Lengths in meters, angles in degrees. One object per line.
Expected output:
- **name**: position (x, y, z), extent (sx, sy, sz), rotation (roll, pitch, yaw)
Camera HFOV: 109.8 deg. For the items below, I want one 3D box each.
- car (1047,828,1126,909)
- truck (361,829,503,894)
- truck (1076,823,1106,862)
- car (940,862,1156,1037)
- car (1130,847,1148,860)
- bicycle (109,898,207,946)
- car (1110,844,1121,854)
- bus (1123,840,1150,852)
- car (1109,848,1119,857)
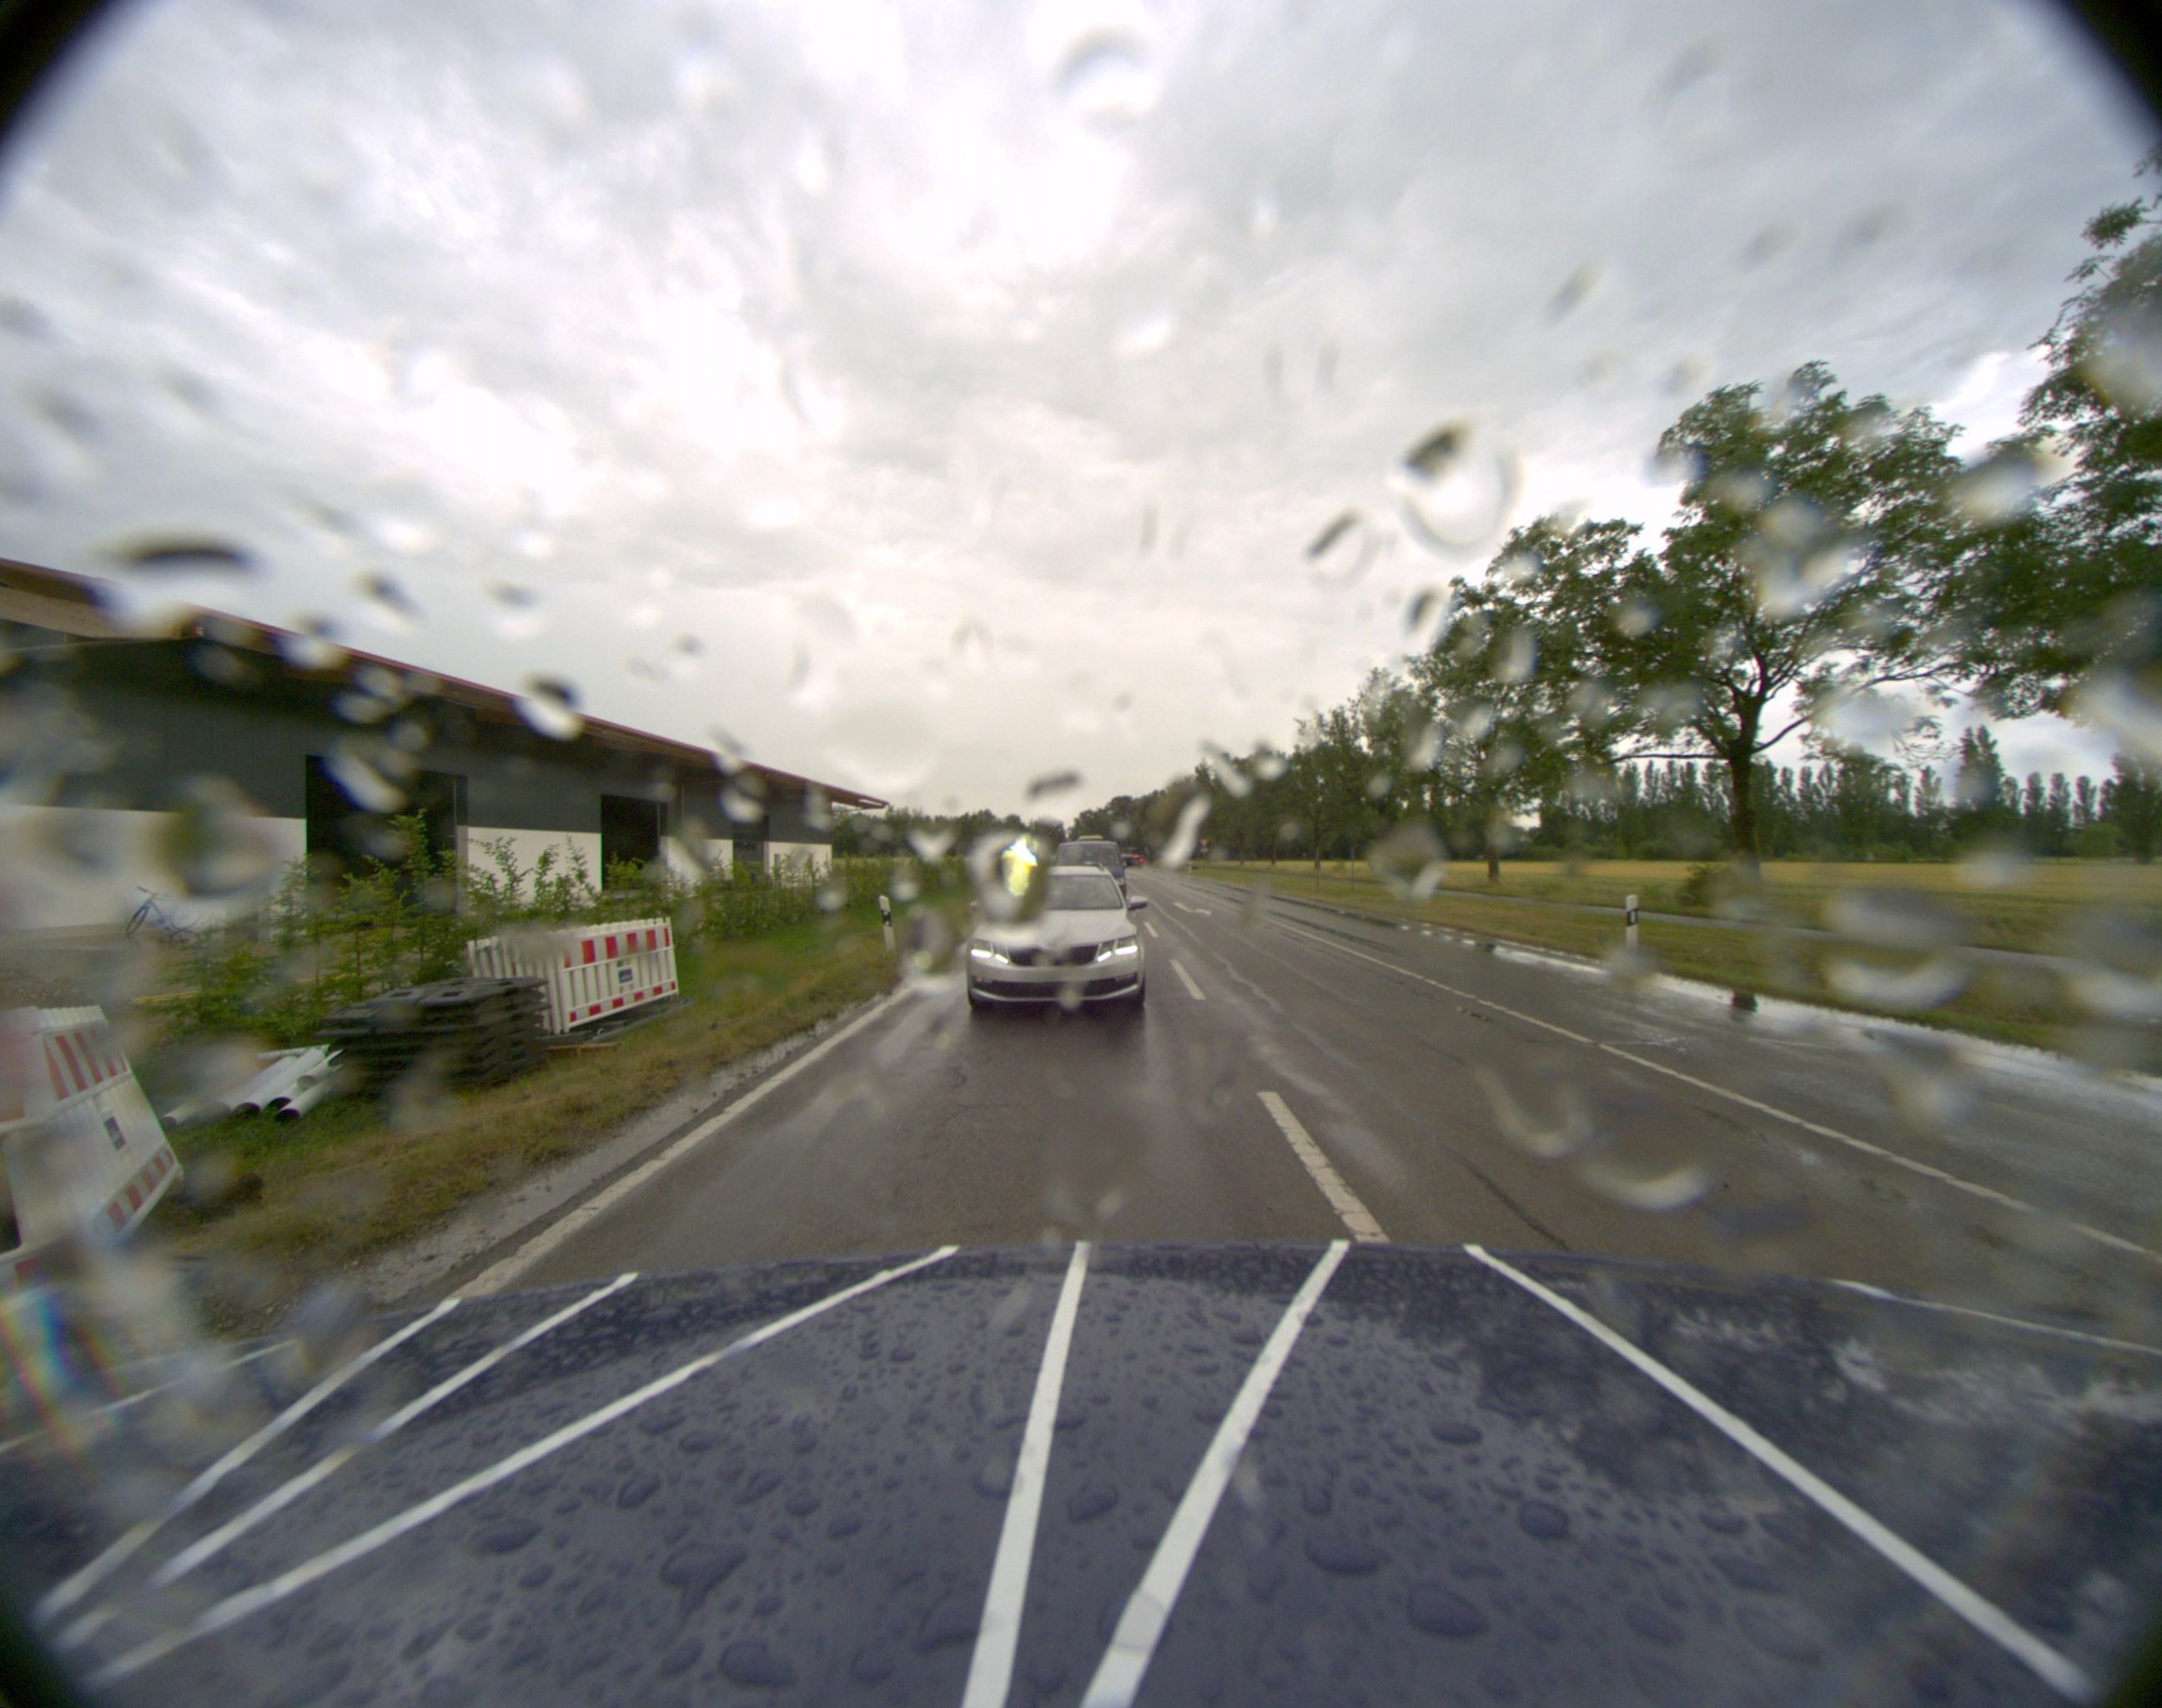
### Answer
- **car**: position (0.166, 0.341, 20.336), extent (1.892, 1.939, 4.000), rotation (0, 1, 1)
- **truck**: position (-32.415, 0.342, 38.253), extent (2.496, 2.996, 5.343), rotation (0, 0, 1)
- **truck**: position (1.129, -1.149, 82.637), extent (2.931, 3.828, 14.119), rotation (0, 0, 1)
- **car**: position (-0.256, 0.866, 8.962), extent (1.843, 1.379, 4.569), rotation (-2, 1, 1)
- **car**: position (6.638, -0.106, 87.782), extent (1.724, 1.396, 4.043), rotation (1, 0, 0)
- **bicycle**: position (-23.148, 1.682, 19.105), extent (0.391, 1.066, 1.661), rotation (0, 1, 1)
- **car**: position (6.733, -1.019, 149.103), extent (1.921, 1.851, 4.684), rotation (1, 1, 0)
- **bus**: position (13.653, -1.908, 185.491), extent (2.953, 2.895, 12.495), rotation (1, 1, 22)
- **car**: position (5.922, -0.273, 137.145), extent (1.708, 1.661, 4.156), rotation (1, 0, 2)
